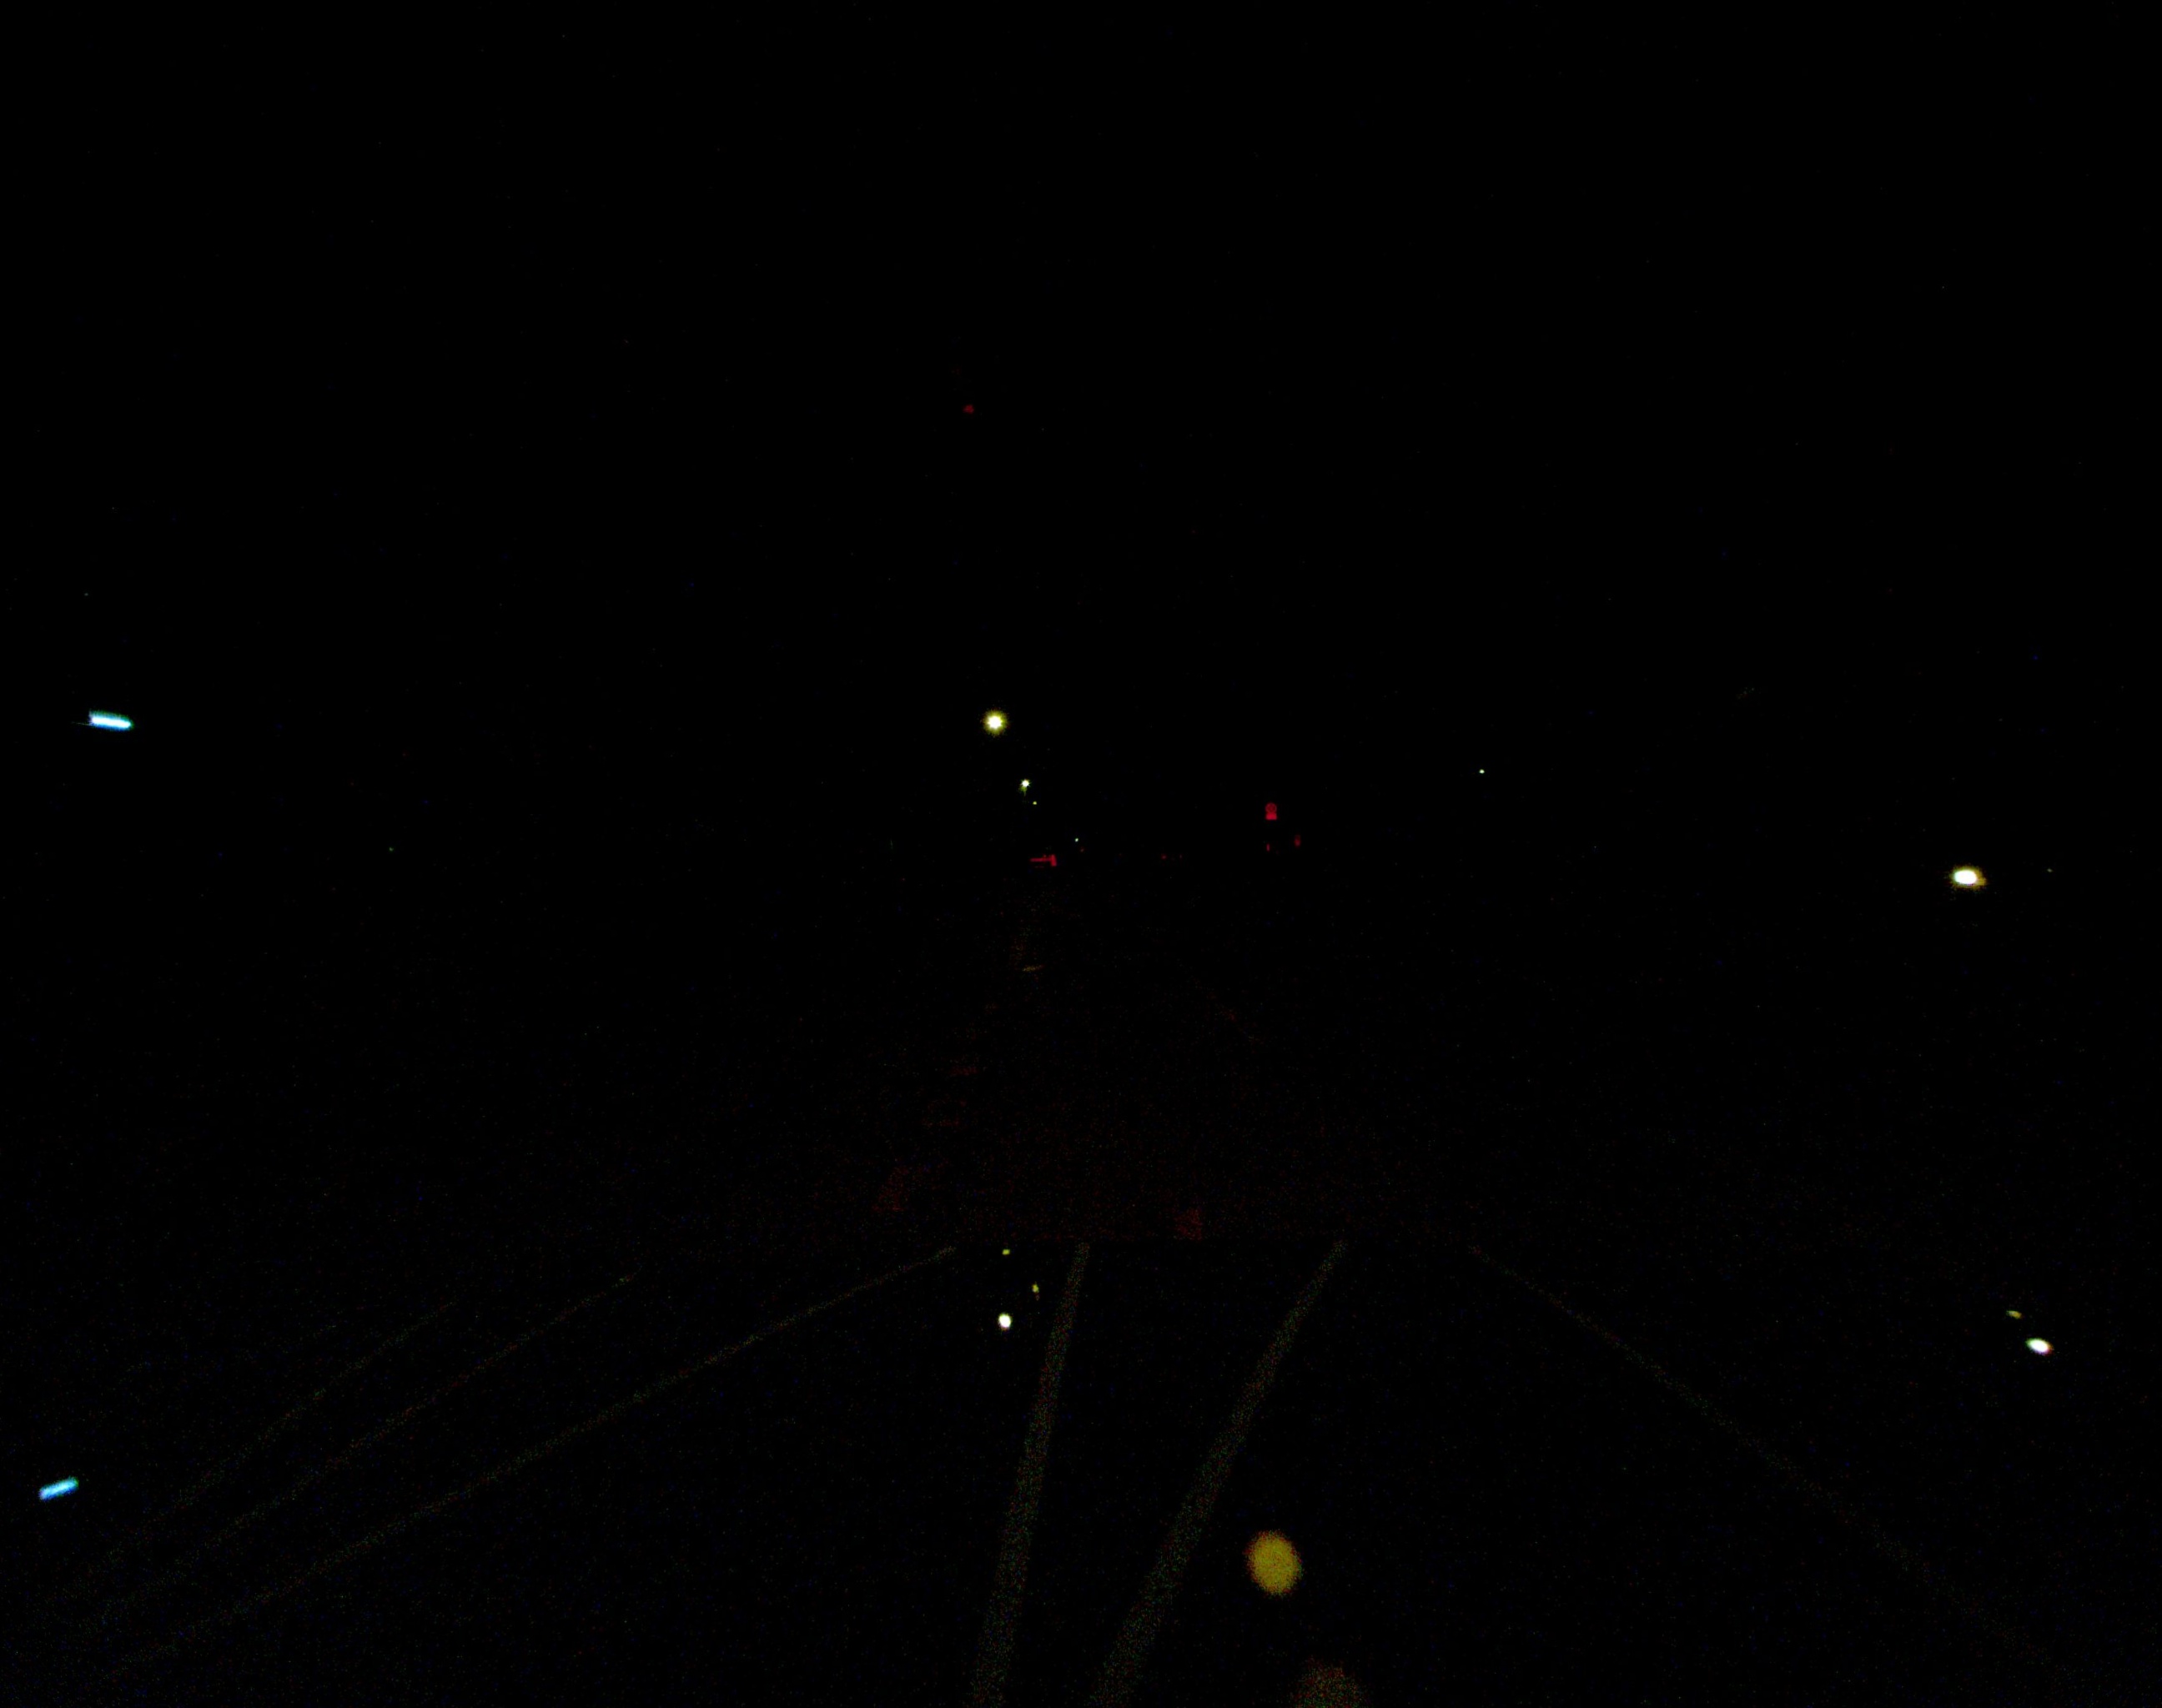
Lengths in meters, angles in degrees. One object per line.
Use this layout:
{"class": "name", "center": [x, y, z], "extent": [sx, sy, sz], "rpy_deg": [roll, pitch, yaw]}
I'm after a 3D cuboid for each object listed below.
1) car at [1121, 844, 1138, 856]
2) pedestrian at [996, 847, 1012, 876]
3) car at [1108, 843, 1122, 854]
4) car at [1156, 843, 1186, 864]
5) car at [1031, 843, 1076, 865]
{"class": "car", "center": [6.361, -0.571, 100.409], "extent": [1.911, 1.445, 3.999], "rpy_deg": [-3, 2, 1]}
{"class": "pedestrian", "center": [-4.829, 0.466, 47.610], "extent": [0.824, 1.809, 0.608], "rpy_deg": [-3, 2, 1]}
{"class": "car", "center": [5.303, -0.831, 118.359], "extent": [1.911, 1.445, 3.999], "rpy_deg": [-3, 2, 1]}
{"class": "car", "center": [7.197, -0.040, 61.003], "extent": [1.911, 1.445, 3.999], "rpy_deg": [-3, 2, 1]}
{"class": "car", "center": [-2.563, -0.016, 70.764], "extent": [3.997, 1.821, 1.912], "rpy_deg": [-3, 2, 0]}
